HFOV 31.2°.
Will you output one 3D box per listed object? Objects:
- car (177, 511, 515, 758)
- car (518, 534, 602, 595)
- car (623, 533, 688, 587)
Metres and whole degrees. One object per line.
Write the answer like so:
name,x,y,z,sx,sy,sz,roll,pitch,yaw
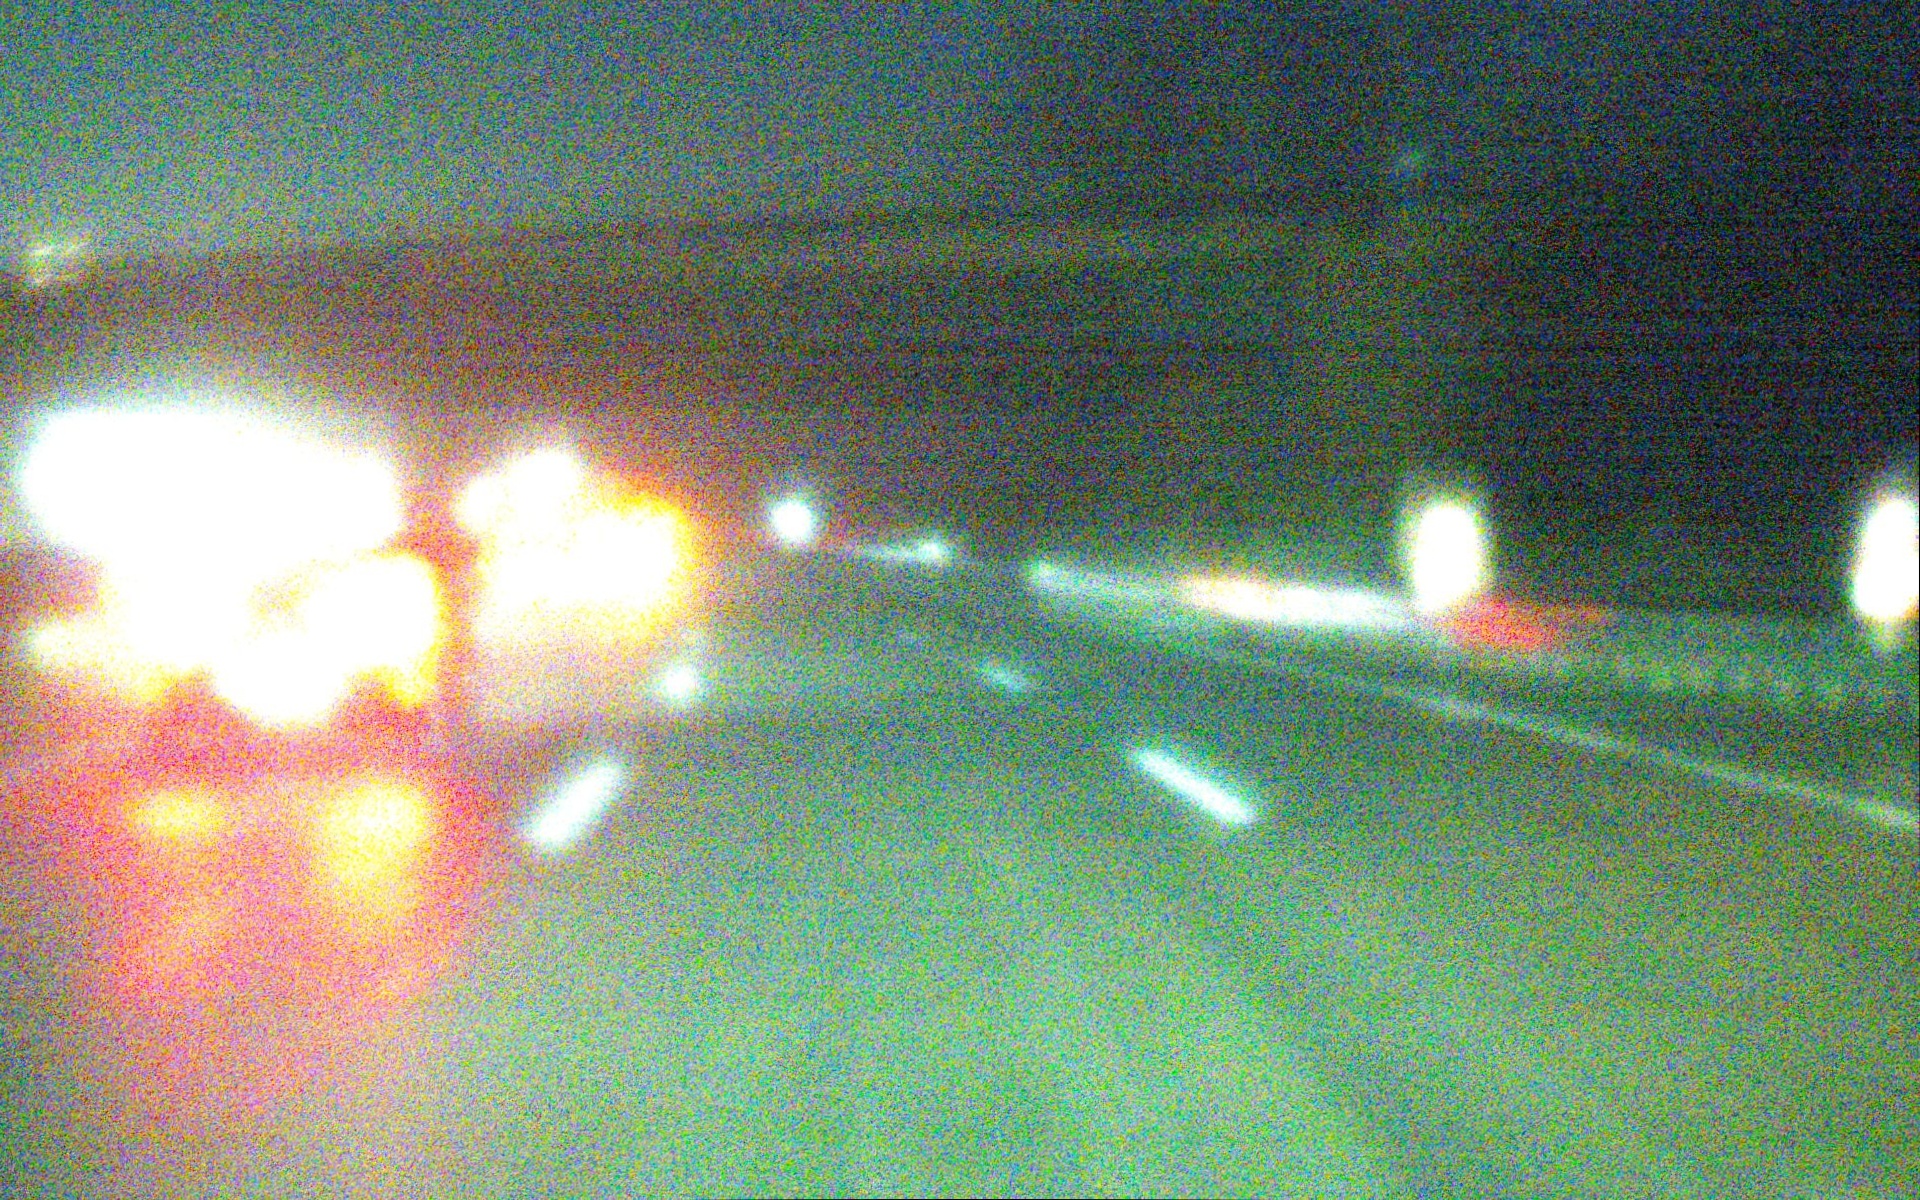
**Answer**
car,-4.430,0.190,25.479,1.858,1.535,4.751,4,1,-4
car,-8.442,-0.757,72.424,1.662,1.232,3.762,1,1,-8
car,-8.808,-1.175,99.580,1.801,1.482,4.001,1,1,-5
